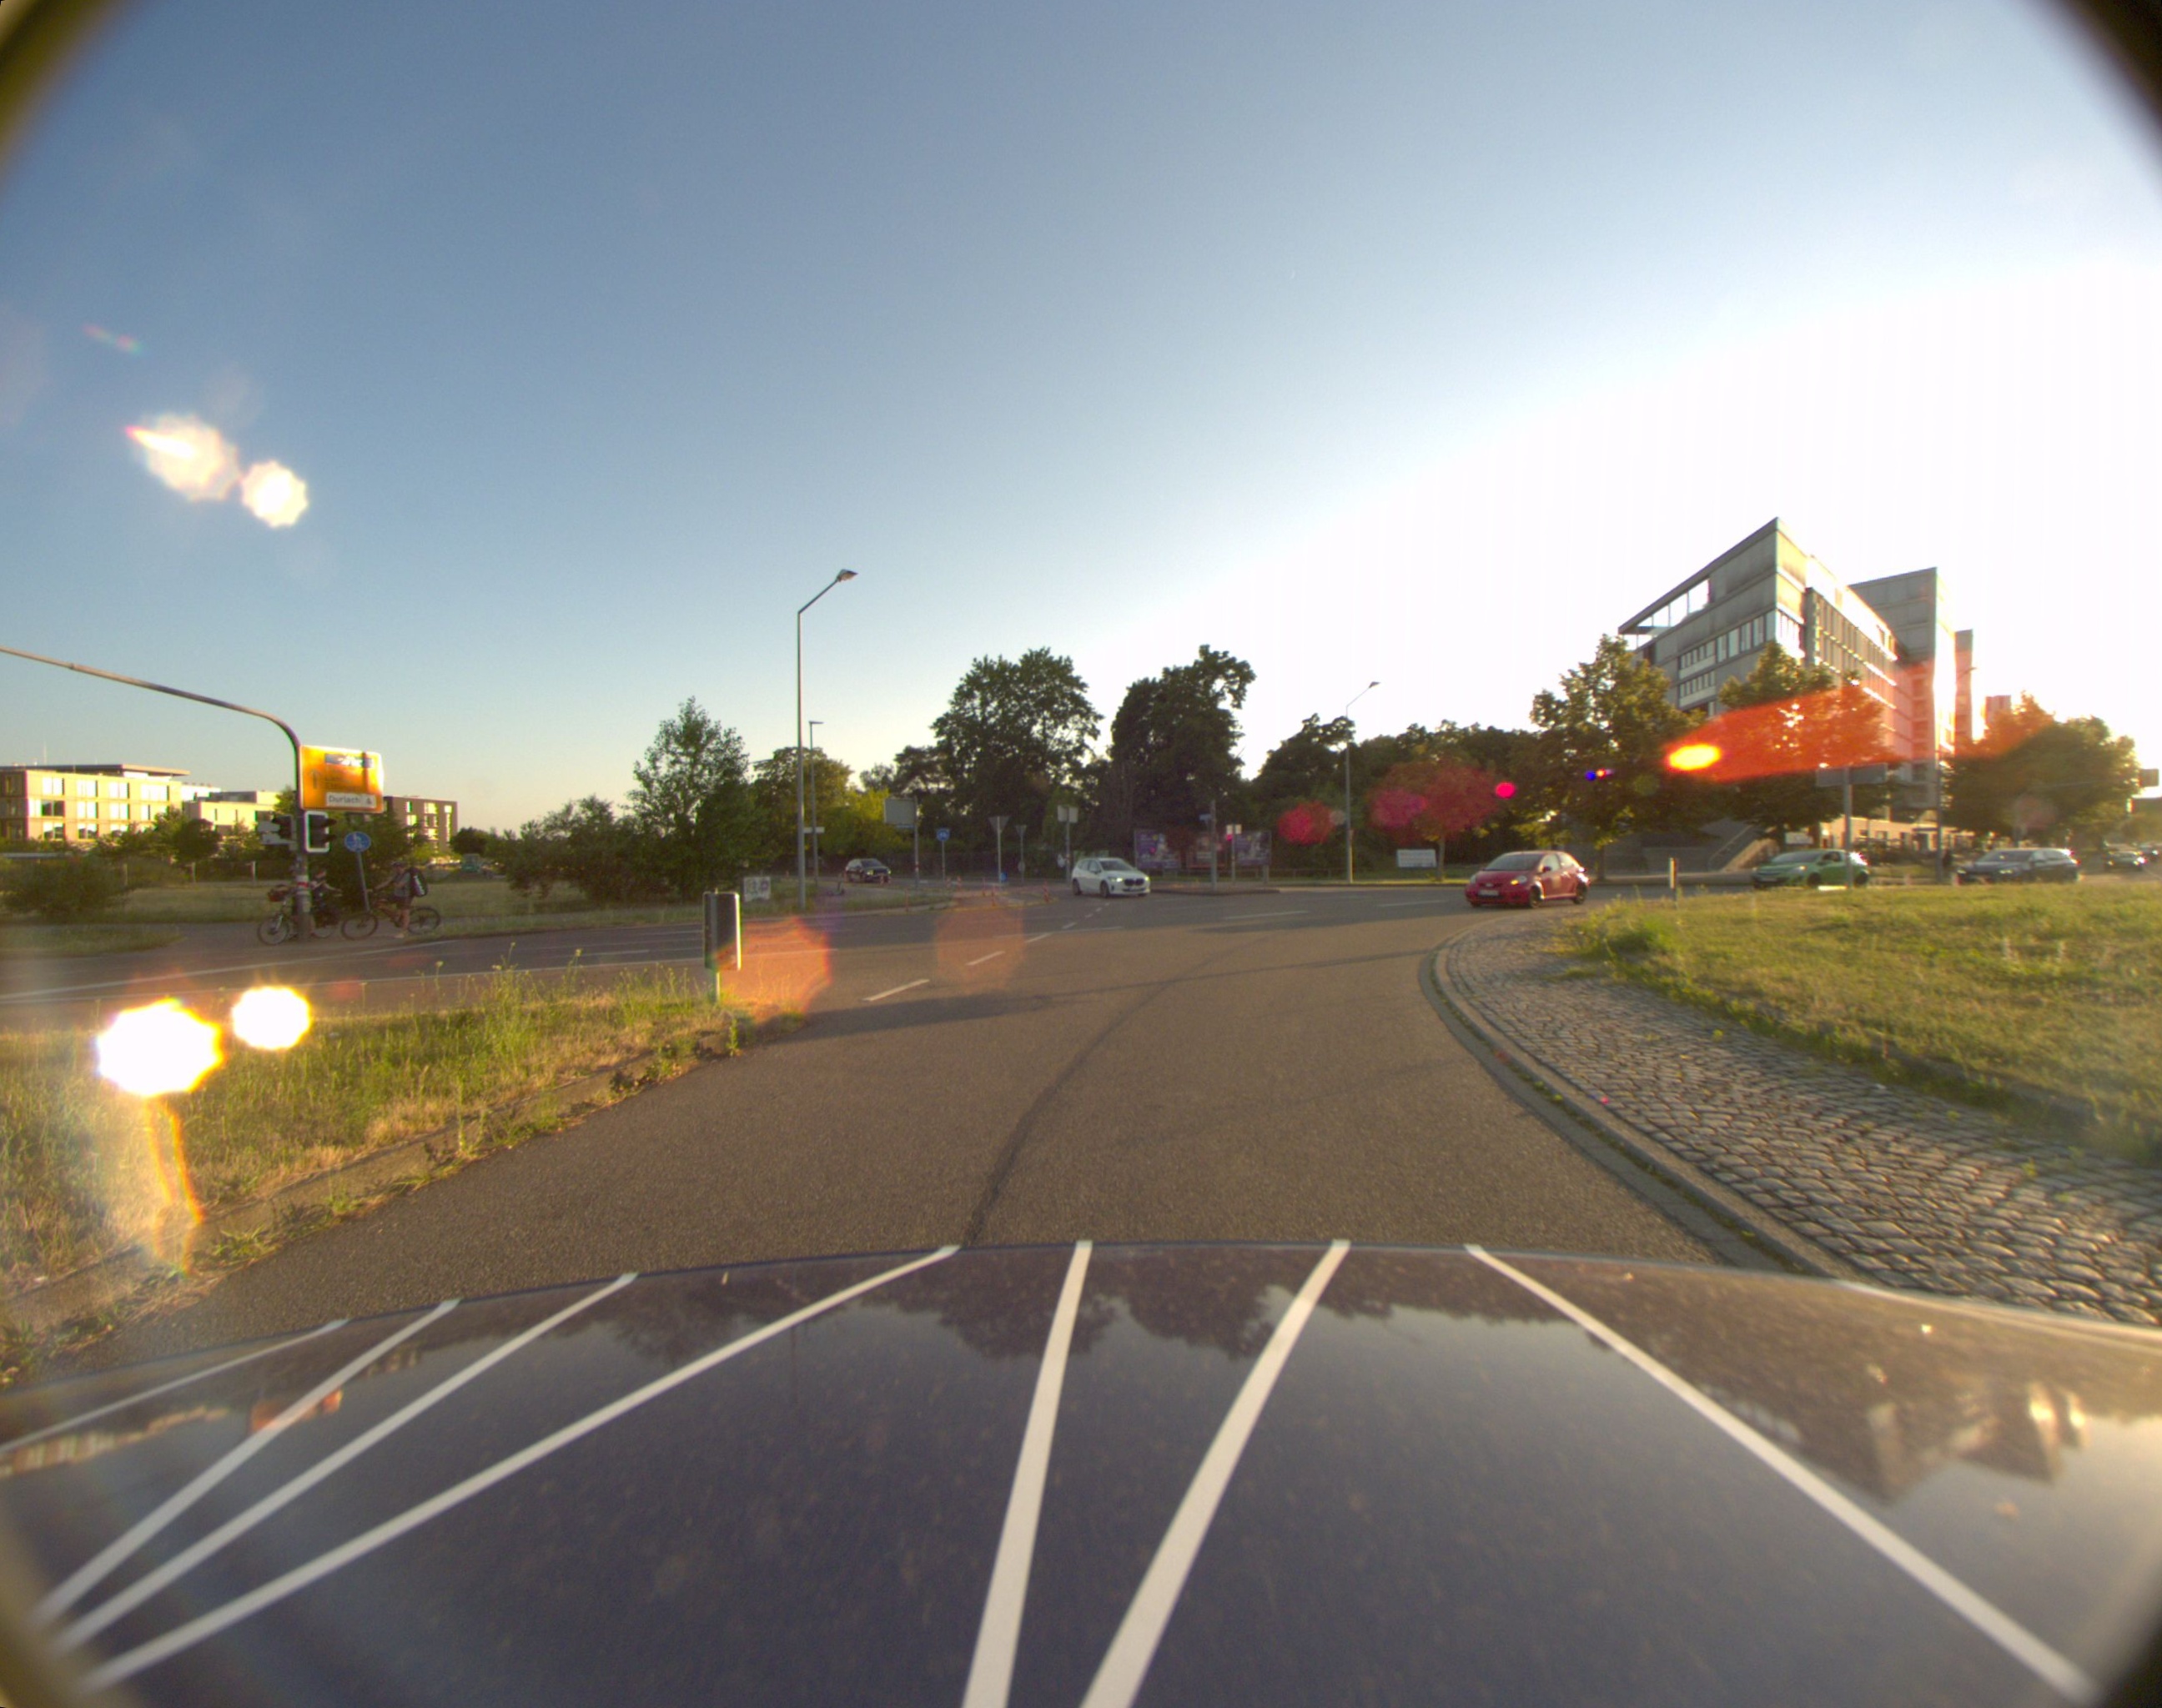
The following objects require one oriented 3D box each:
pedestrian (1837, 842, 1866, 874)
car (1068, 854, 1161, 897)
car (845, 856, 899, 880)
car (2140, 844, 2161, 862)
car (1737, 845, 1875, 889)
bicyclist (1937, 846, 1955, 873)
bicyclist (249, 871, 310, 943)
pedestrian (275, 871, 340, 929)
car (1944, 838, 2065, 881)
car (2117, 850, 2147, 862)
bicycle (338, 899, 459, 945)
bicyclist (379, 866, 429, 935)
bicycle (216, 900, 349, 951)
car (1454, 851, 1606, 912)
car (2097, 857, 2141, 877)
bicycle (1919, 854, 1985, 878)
[{"bbox_3d":[48.893,0.246,48.237,0.776,2.002,0.998,-2,1,-11],"label":"pedestrian"},{"bbox_3d":[1.278,0.827,31.060,2.003,1.597,4.189,-1,0,-27],"label":"car"},{"bbox_3d":[-14.695,0.968,53.304,2.004,1.588,4.302,-1,1,-40],"label":"car"},{"bbox_3d":[109.200,-0.112,77.089,5.316,1.801,1.995,0,-2,-36],"label":"car"},{"bbox_3d":[25.469,0.423,26.716,4.002,1.412,1.687,-1,1,-15],"label":"car"},{"bbox_3d":[46.983,0.310,41.271,0.693,1.432,0.610,-2,1,-42],"label":"bicyclist"},{"bbox_3d":[-19.322,1.253,18.321,0.724,1.680,0.690,-1,1,12],"label":"bicyclist"},{"bbox_3d":[-22.200,1.290,21.836,0.993,1.581,0.925,-1,1,-24],"label":"pedestrian"},{"bbox_3d":[37.074,0.183,30.513,4.333,1.569,1.731,-1,1,-20],"label":"car"},{"bbox_3d":[129.991,0.246,94.019,4.008,1.444,1.994,-1,1,-39],"label":"car"},{"bbox_3d":[-17.153,1.676,19.169,0.708,0.957,2.149,-1,0,26],"label":"bicycle"},{"bbox_3d":[-17.137,1.162,19.229,0.723,1.680,0.690,-1,1,28],"label":"bicyclist"},{"bbox_3d":[-19.264,1.694,18.408,0.708,0.958,2.109,-1,2,14],"label":"bicycle"},{"bbox_3d":[11.913,0.672,20.103,4.006,1.412,1.686,-1,1,-30],"label":"car"},{"bbox_3d":[78.788,0.964,57.666,4.133,1.371,1.747,-1,1,-33],"label":"car"},{"bbox_3d":[47.096,0.629,41.129,0.744,1.237,2.341,-2,1,-41],"label":"bicycle"}]
